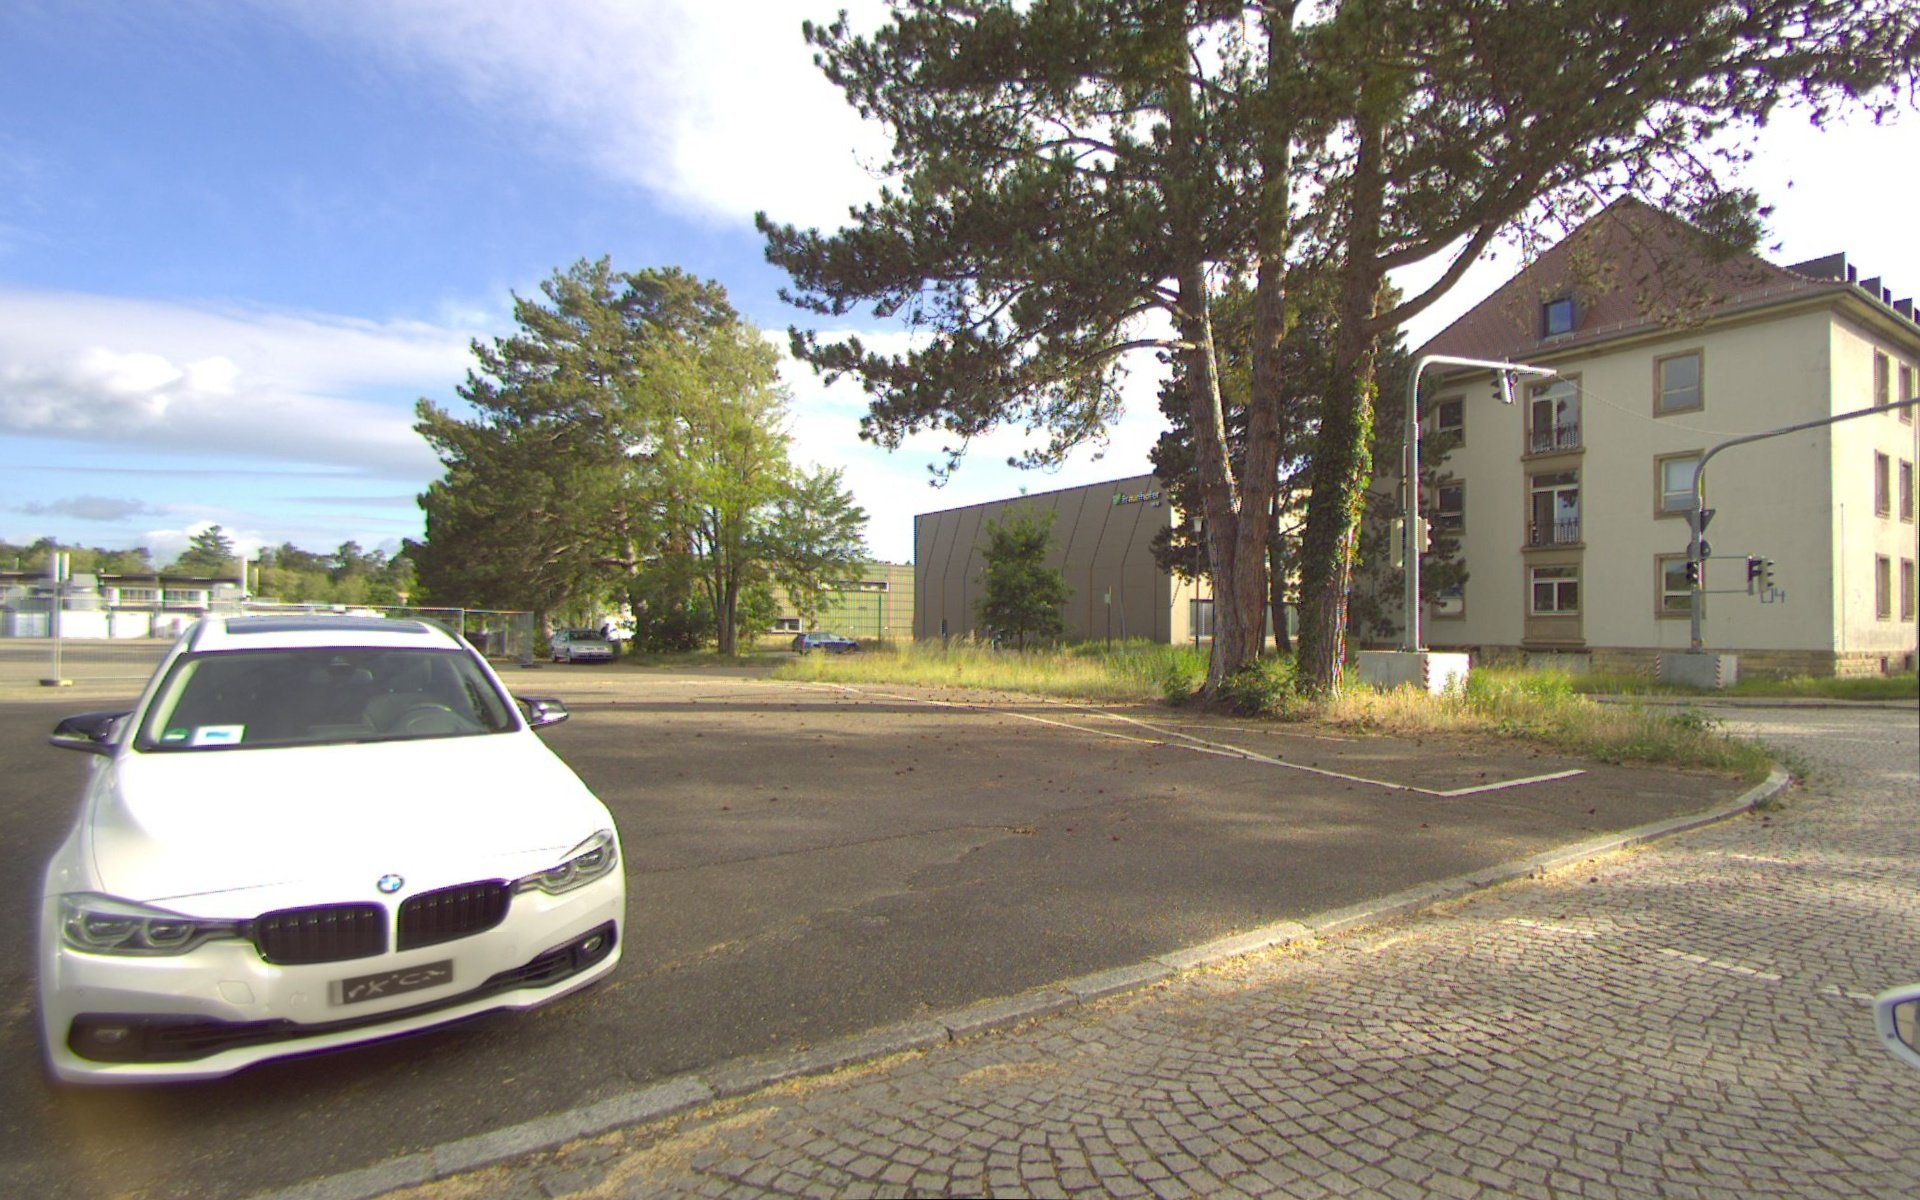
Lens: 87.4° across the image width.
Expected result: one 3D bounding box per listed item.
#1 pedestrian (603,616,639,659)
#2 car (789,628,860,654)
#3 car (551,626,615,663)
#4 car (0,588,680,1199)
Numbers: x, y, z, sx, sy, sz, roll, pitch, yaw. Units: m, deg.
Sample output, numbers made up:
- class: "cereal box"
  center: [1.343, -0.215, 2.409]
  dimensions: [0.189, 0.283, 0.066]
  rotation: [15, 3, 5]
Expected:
- class: "pedestrian"
  center: [-14.234, 1.590, 42.202]
  dimensions: [0.862, 1.767, 1.095]
  rotation: [1, -2, 25]
- class: "car"
  center: [-8.597, 2.614, 63.807]
  dimensions: [4.119, 1.580, 1.790]
  rotation: [3, -2, -38]
- class: "car"
  center: [-15.546, 1.805, 41.300]
  dimensions: [1.648, 1.400, 3.964]
  rotation: [2, -2, -33]
- class: "car"
  center: [-3.116, 0.745, 4.921]
  dimensions: [1.885, 1.475, 4.554]
  rotation: [0, 2, -36]
